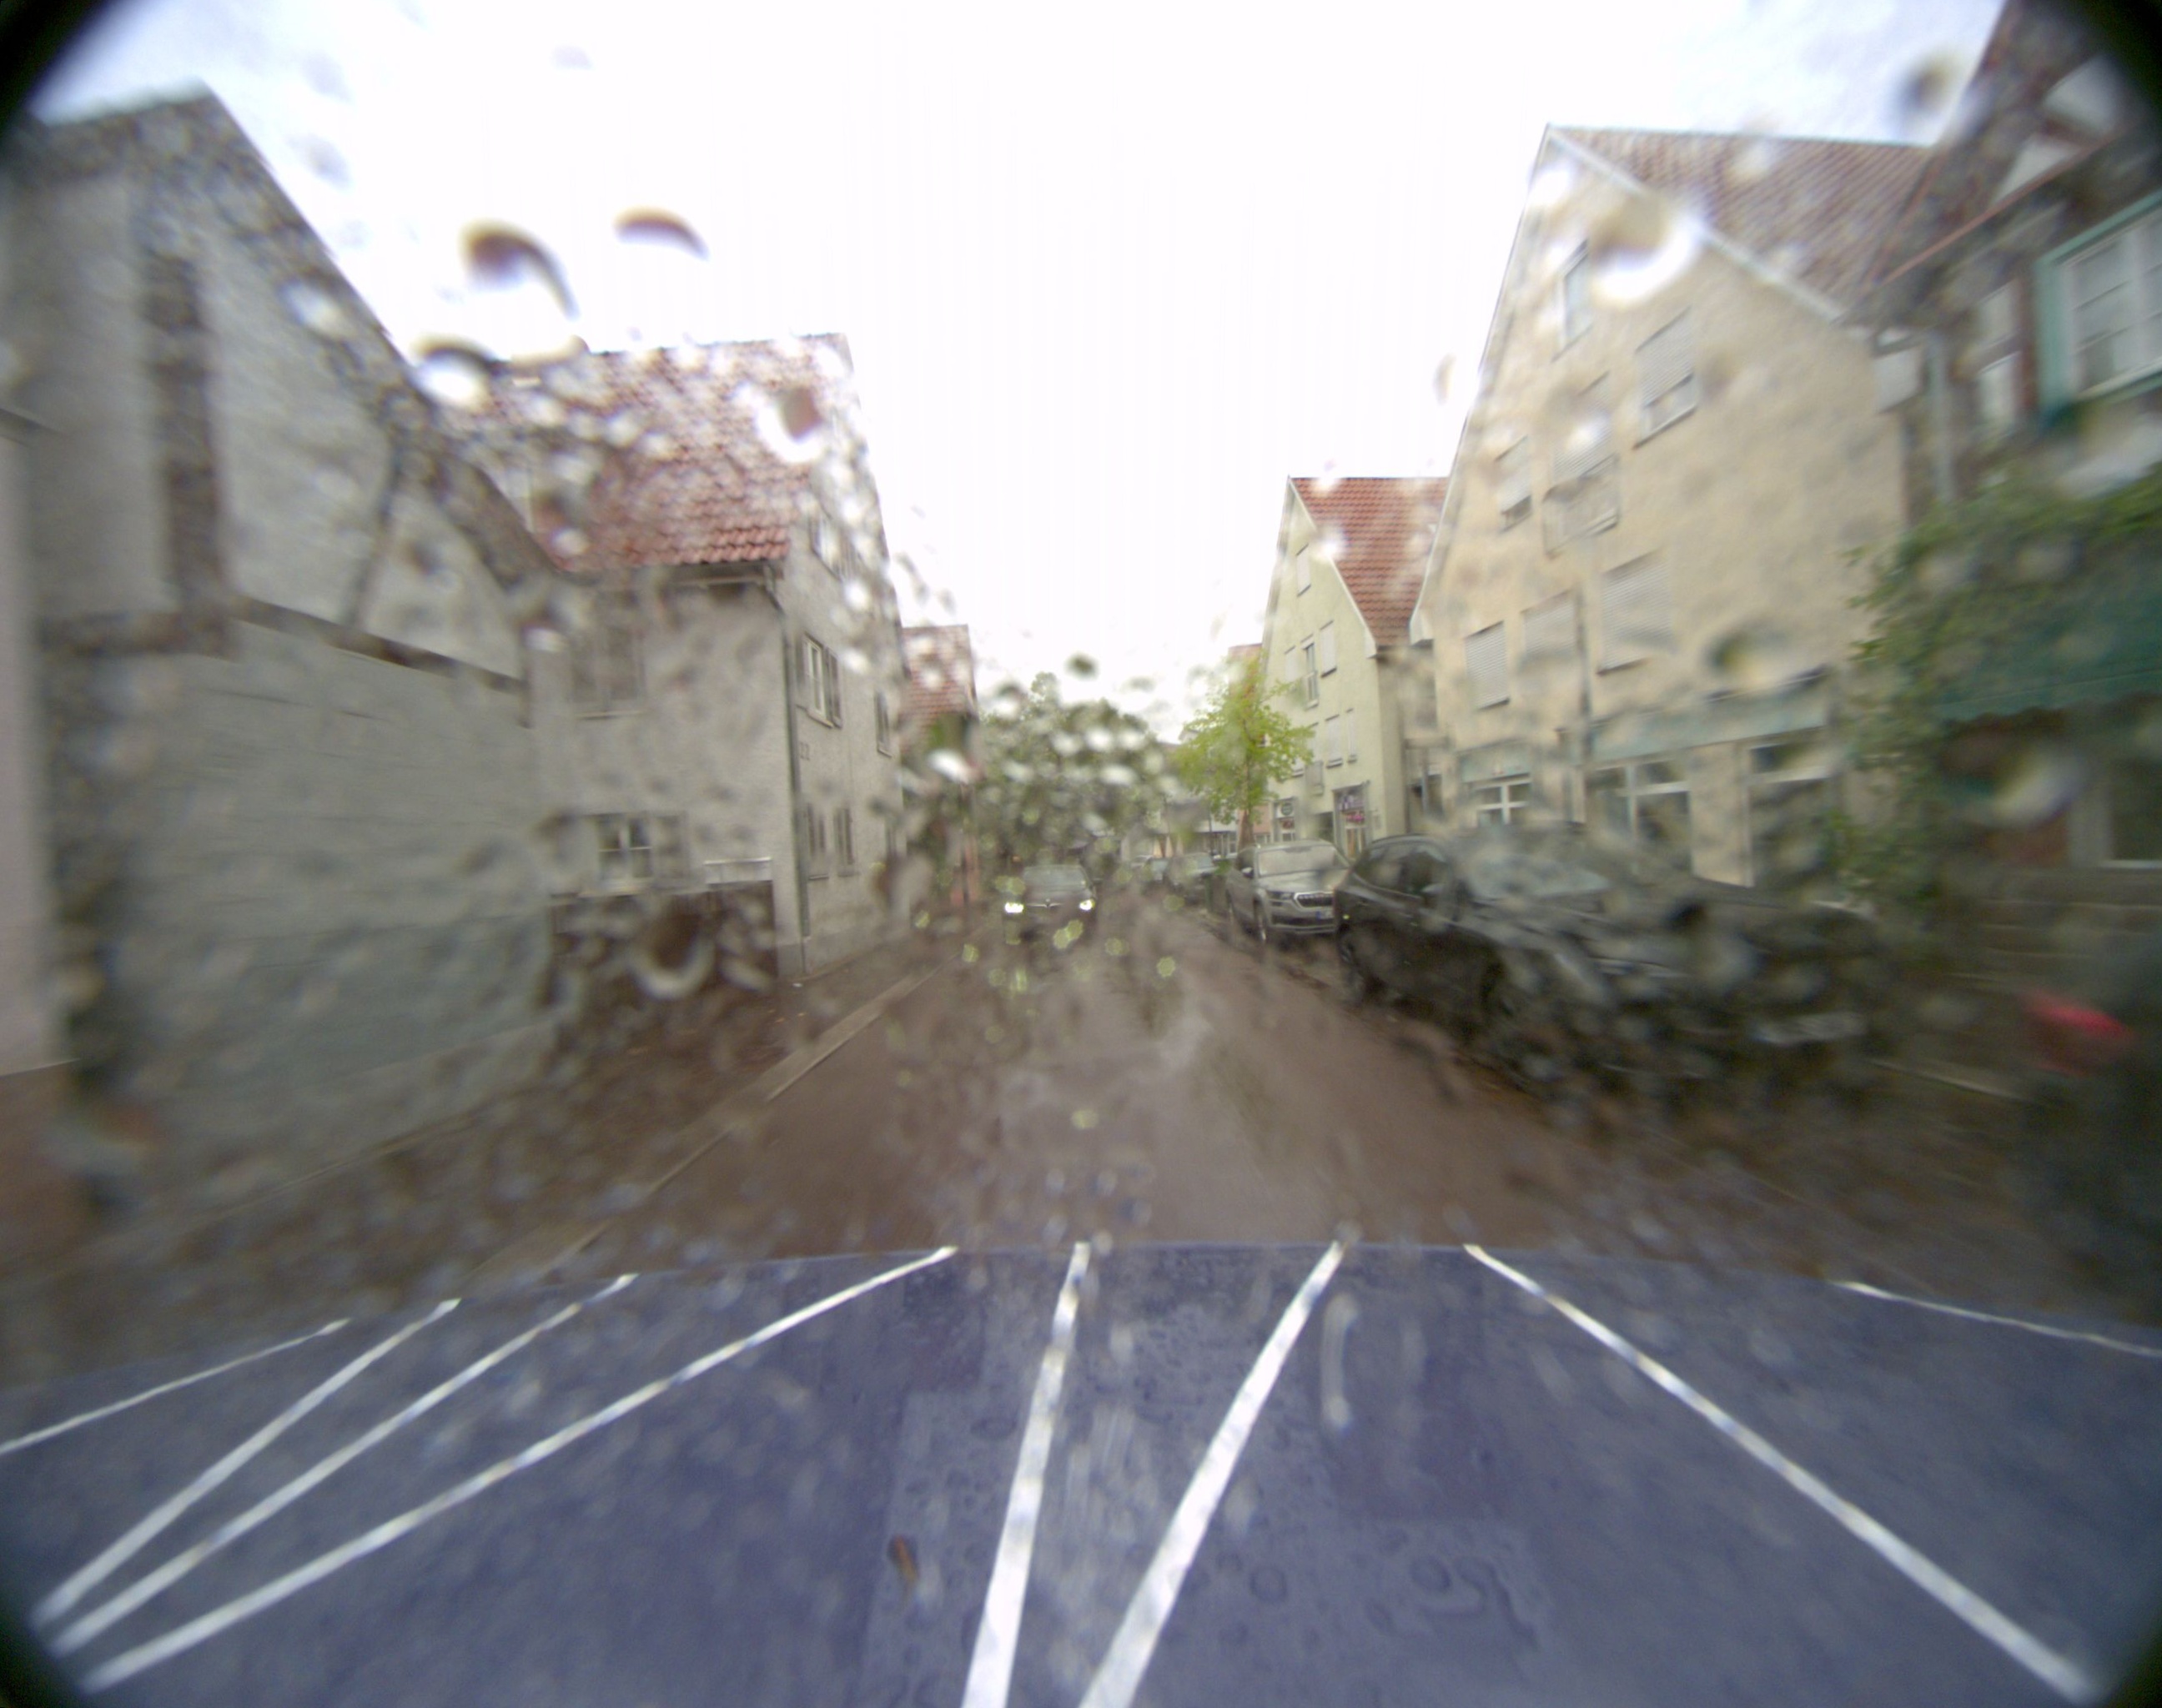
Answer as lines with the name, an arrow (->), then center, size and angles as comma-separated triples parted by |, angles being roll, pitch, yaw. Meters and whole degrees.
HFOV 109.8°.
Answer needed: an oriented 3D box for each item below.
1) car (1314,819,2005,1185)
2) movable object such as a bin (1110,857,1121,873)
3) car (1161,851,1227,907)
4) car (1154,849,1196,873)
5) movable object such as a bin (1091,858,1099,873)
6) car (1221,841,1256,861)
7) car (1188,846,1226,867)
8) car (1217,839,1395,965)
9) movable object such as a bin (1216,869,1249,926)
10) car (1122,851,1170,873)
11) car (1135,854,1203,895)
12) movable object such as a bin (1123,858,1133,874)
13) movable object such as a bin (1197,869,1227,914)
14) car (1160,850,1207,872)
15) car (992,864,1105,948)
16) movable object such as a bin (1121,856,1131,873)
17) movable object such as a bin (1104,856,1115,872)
car -> 3.464, 0.660, 5.882 | 1.838, 1.665, 4.539 | -3, 1, 0
movable object such as a bin -> 2.512, 0.781, 55.194 | 0.545, 1.143, 0.586 | -2, 2, 27
car -> 3.560, 0.731, 24.539 | 1.596, 1.537, 3.976 | -3, 1, 2
car -> 7.684, 0.570, 62.106 | 1.691, 1.680, 3.964 | -2, 2, 35
movable object such as a bin -> 1.046, 0.873, 56.816 | 0.430, 1.041, 0.501 | -2, 2, 27
car -> 11.709, -0.241, 56.310 | 1.691, 1.414, 3.822 | -2, 1, 25
car -> 11.268, 0.194, 67.709 | 1.691, 1.680, 4.285 | -2, 2, 32
car -> 3.610, 0.644, 13.078 | 1.776, 1.665, 4.479 | -4, 1, 2
movable object such as a bin -> 3.368, 0.967, 16.946 | 0.603, 1.194, 0.523 | -3, 2, 4
car -> 5.026, 0.581, 58.301 | 1.691, 1.530, 4.412 | -2, 0, 35
car -> 3.398, 0.795, 30.277 | 1.806, 1.424, 4.626 | -3, -1, -4
movable object such as a bin -> 3.420, 0.888, 55.213 | 0.534, 1.143, 0.501 | -2, 2, 27
movable object such as a bin -> 3.316, 0.940, 19.226 | 0.622, 1.073, 0.725 | -3, 2, 2
car -> 7.801, 0.510, 57.452 | 1.995, 1.445, 4.007 | -2, 2, 32
car -> -0.789, 0.983, 16.352 | 1.999, 1.398, 4.891 | -3, 0, -5
movable object such as a bin -> 3.243, 0.765, 54.910 | 0.477, 1.162, 0.489 | -2, 2, 27
movable object such as a bin -> 2.093, 0.761, 55.671 | 0.504, 1.143, 0.581 | -2, 2, 27
